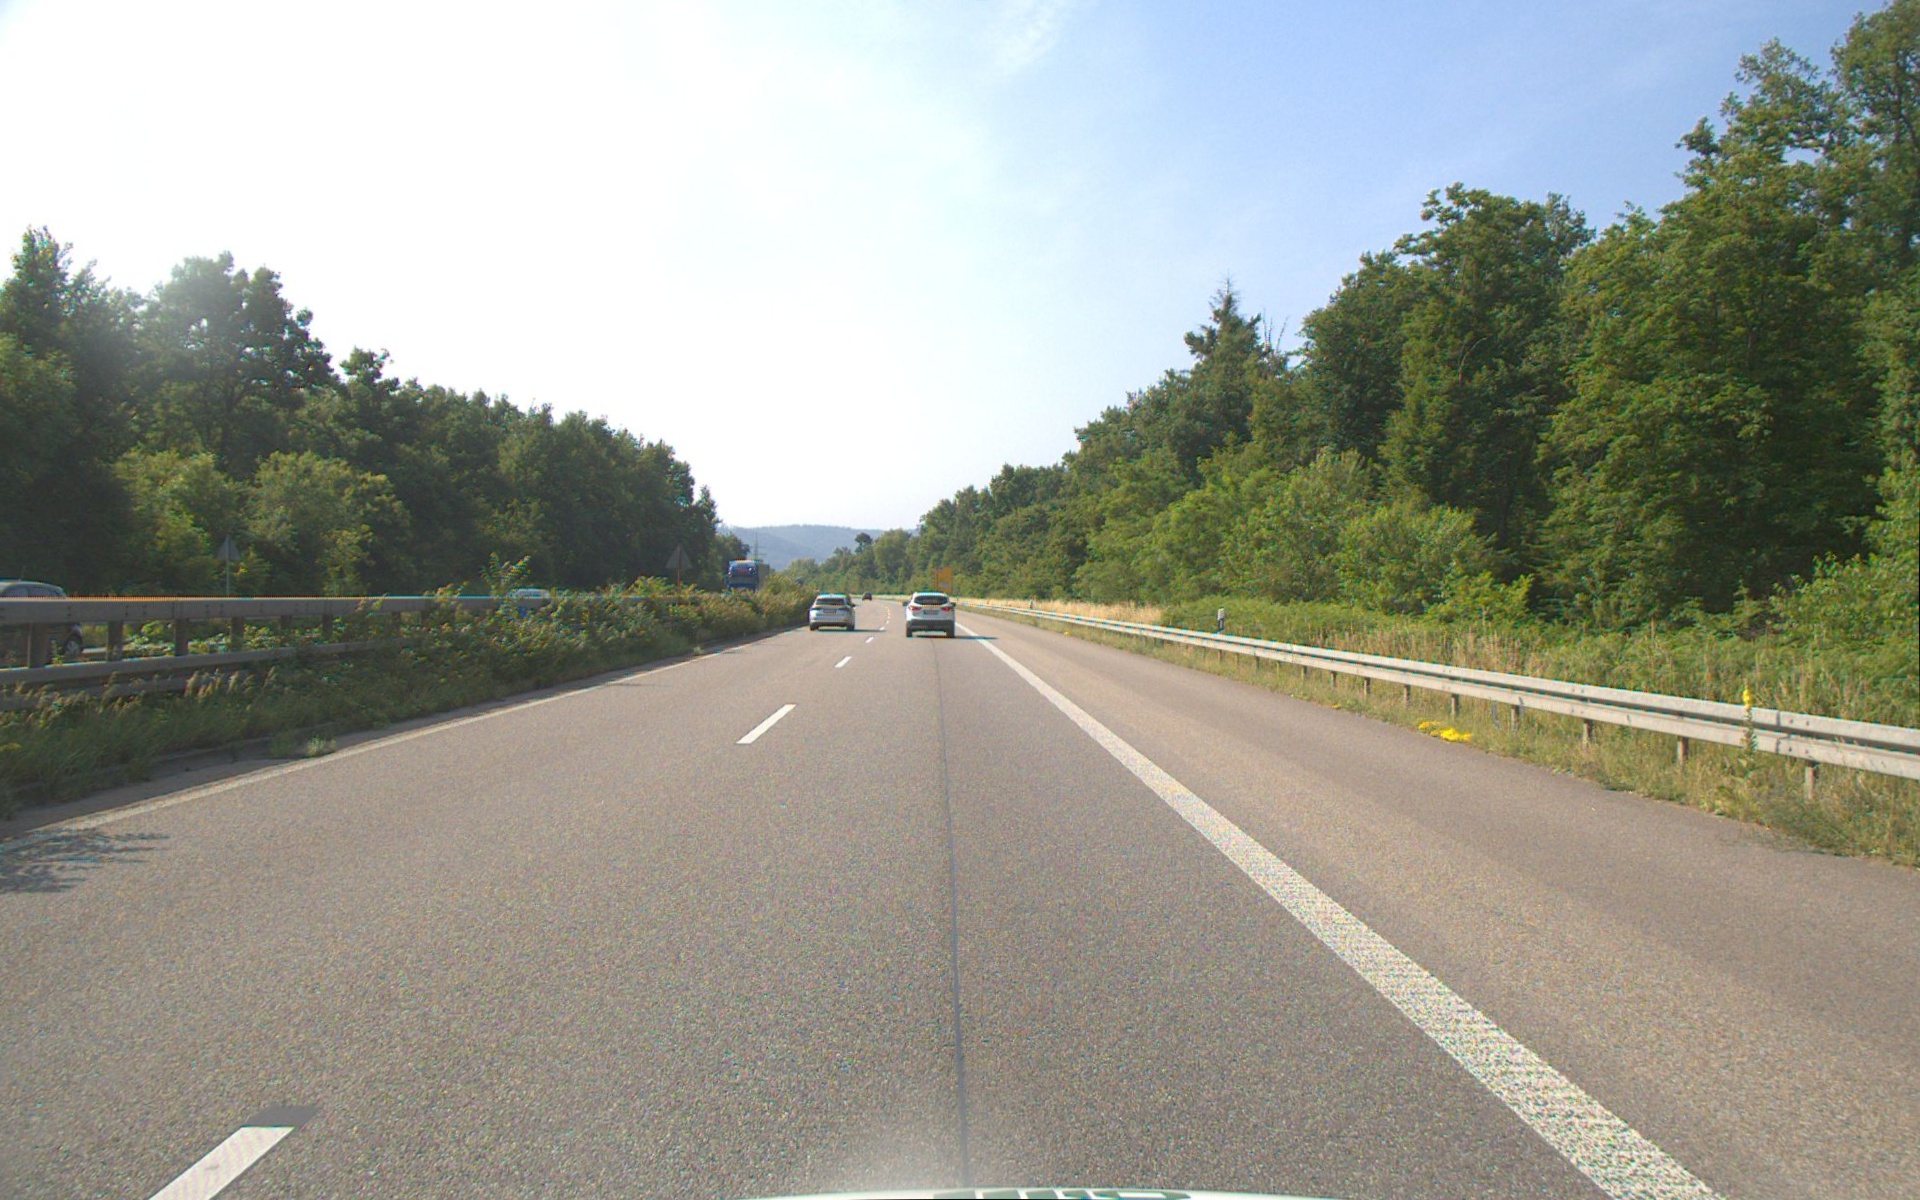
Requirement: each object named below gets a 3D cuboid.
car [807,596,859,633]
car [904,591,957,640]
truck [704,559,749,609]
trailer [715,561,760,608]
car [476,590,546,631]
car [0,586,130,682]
[{"bbox_3d":[-5.276,0.588,69.041,1.755,1.463,5.278,0,0,0],"label":"car"},{"bbox_3d":[-1.097,0.542,60.489,1.836,1.614,3.999,3,1,-2],"label":"car"},{"bbox_3d":[-19.679,-1.305,139.856,2.728,4.068,8.413,1,0,-2],"label":"truck"},{"bbox_3d":[-19.895,-1.355,148.408,2.774,4.068,11.430,1,0,-2],"label":"trailer"},{"bbox_3d":[-16.634,0.376,61.367,1.525,1.454,3.909,1,0,0],"label":"car"},{"bbox_3d":[-15.229,0.499,26.871,1.525,1.454,3.909,1,0,0],"label":"car"}]
